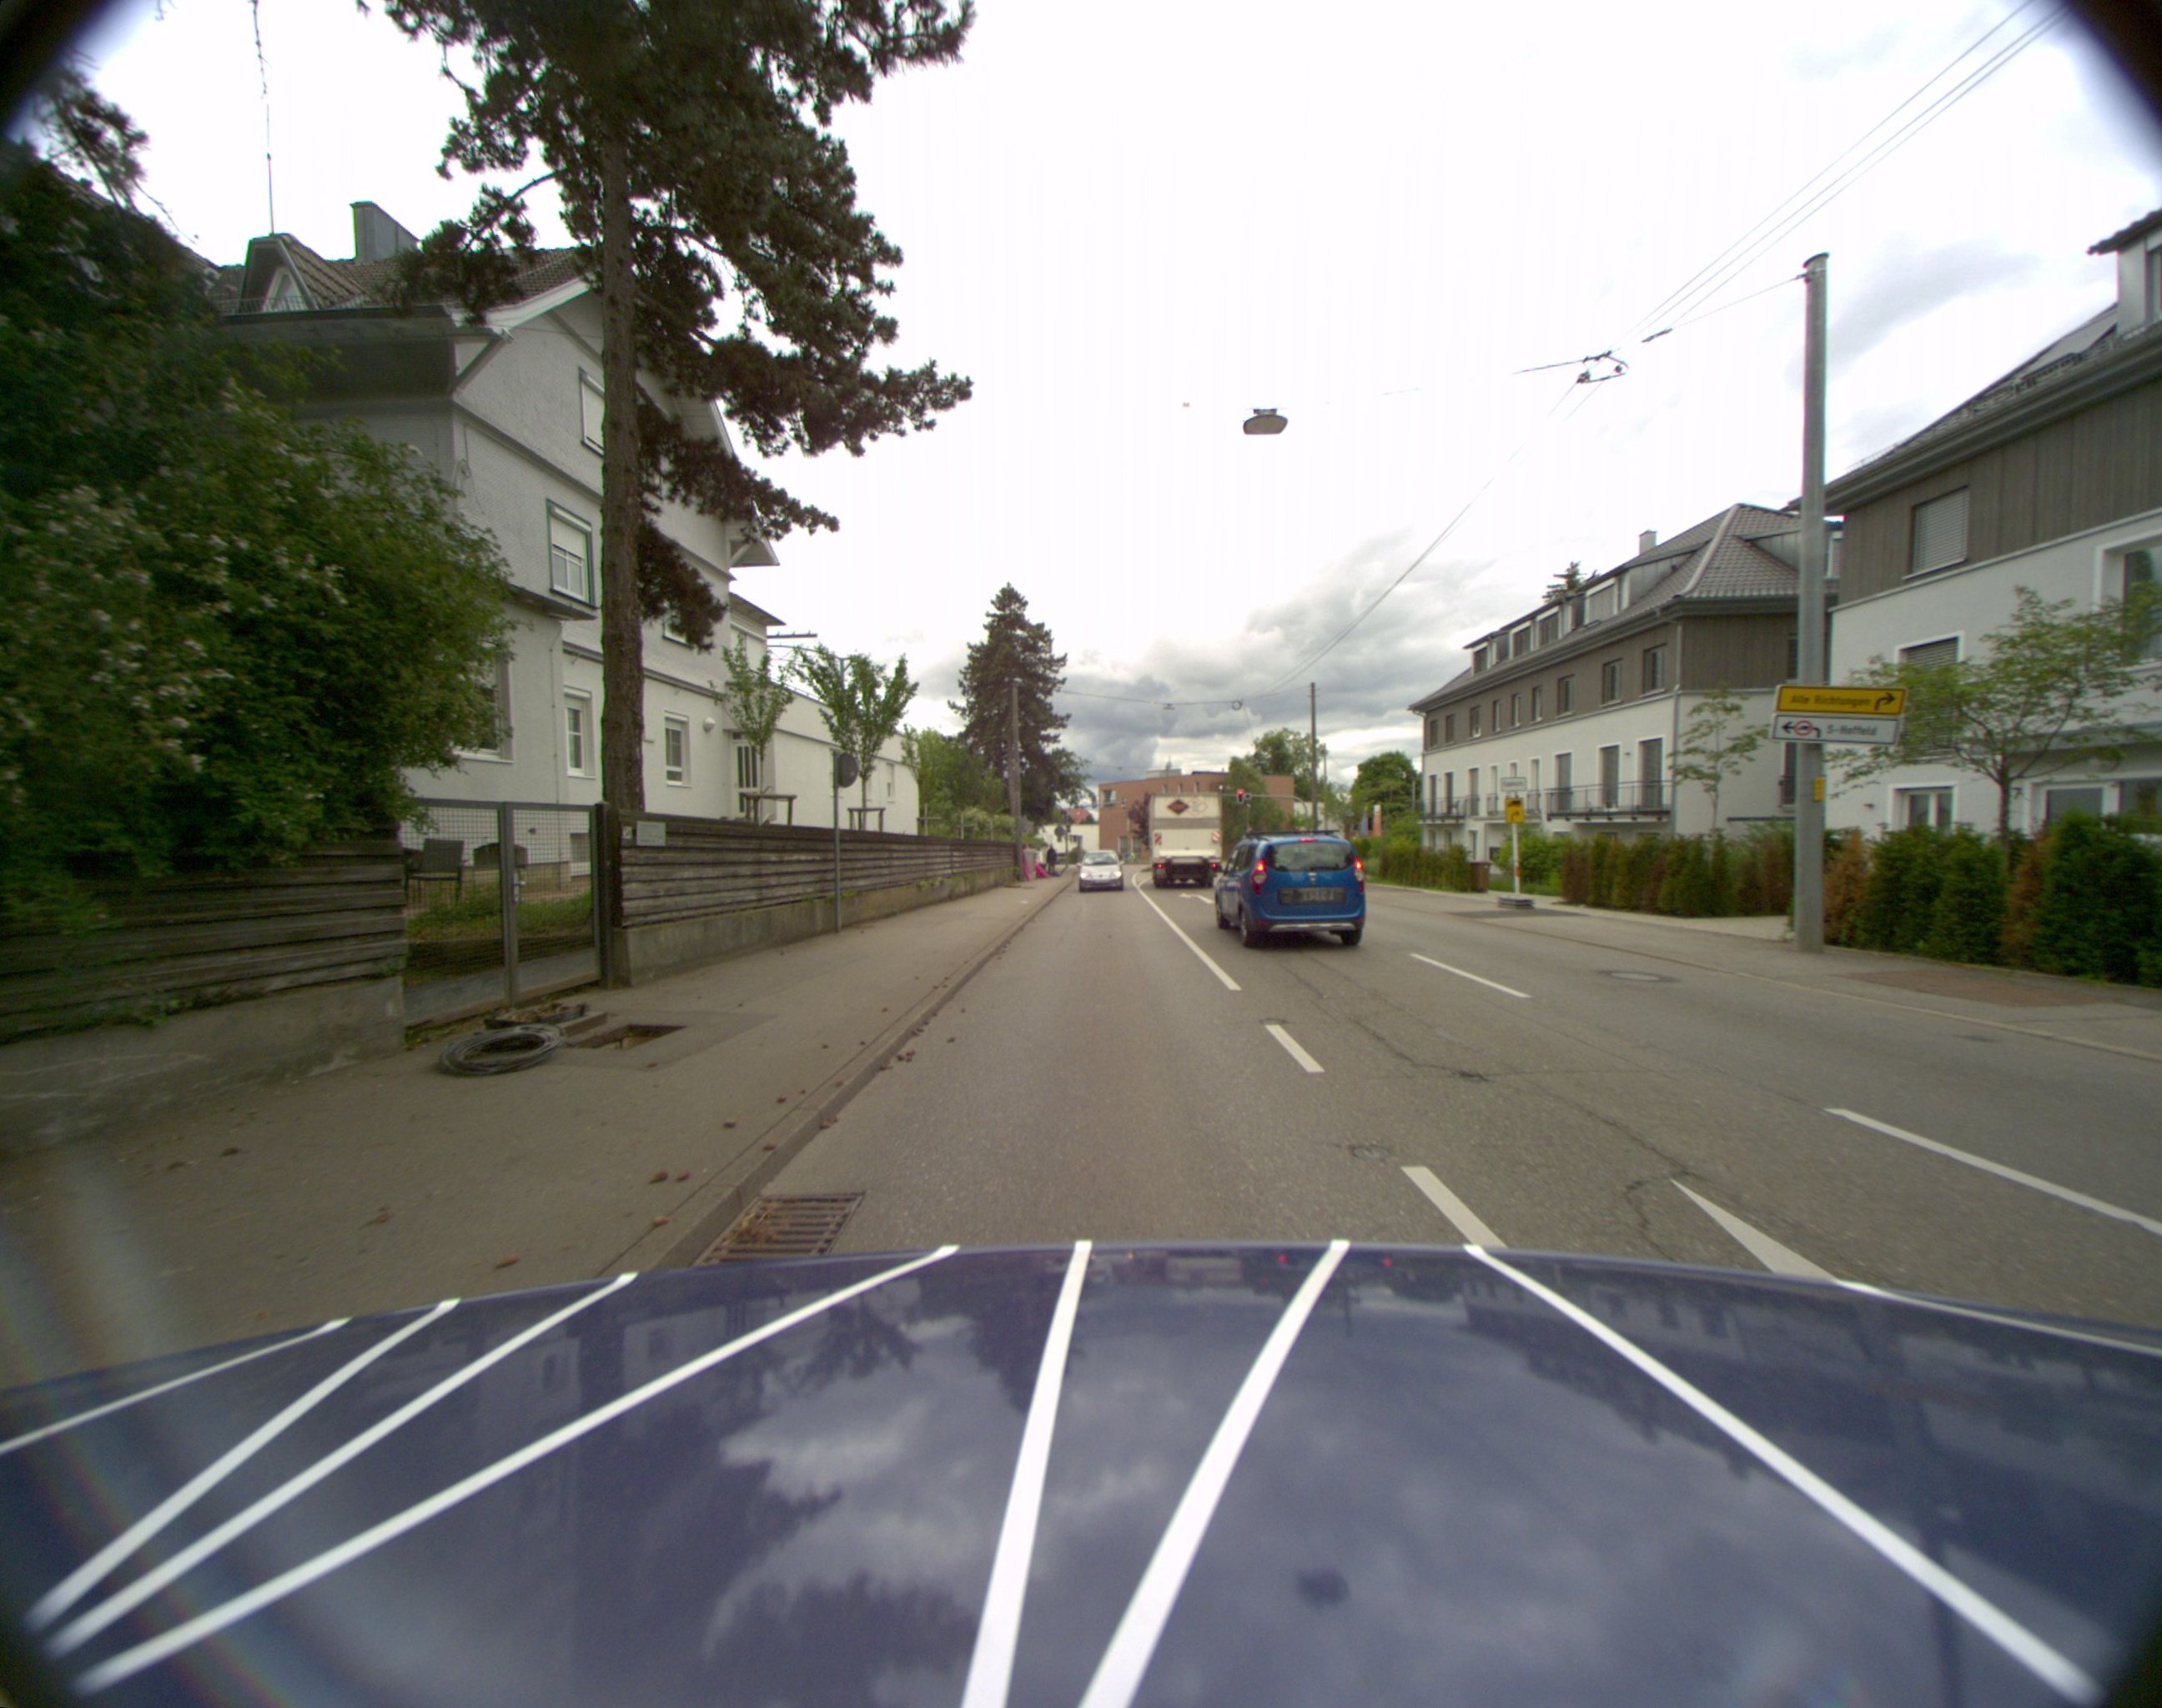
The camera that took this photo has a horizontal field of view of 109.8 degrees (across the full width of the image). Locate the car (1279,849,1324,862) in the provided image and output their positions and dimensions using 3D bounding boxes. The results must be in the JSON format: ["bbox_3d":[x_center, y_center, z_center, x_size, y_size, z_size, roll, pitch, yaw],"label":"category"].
[{"bbox_3d":[22.700,0.118,78.183,4.003,1.237,1.996,-1,2,-20],"label":"car"}]

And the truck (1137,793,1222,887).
[{"bbox_3d":[3.907,-0.606,31.712,2.784,3.442,7.492,-1,2,2],"label":"truck"}]

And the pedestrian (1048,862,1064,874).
[{"bbox_3d":[-1.430,0.797,43.525,0.648,0.692,0.583,-1,1,-40],"label":"pedestrian"}]

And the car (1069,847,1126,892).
[{"bbox_3d":[0.652,0.545,29.208,1.998,1.586,4.000,-2,0,2],"label":"car"}]

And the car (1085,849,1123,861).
[{"bbox_3d":[2.940,0.098,98.382,4.441,1.549,1.996,0,0,-23],"label":"car"}]

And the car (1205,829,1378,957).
[{"bbox_3d":[3.222,0.521,12.531,1.810,1.707,4.379,-1,0,3],"label":"car"}]

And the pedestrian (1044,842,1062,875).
[{"bbox_3d":[-1.649,0.251,44.522,0.849,1.912,0.800,-1,1,-18],"label":"pedestrian"}]
